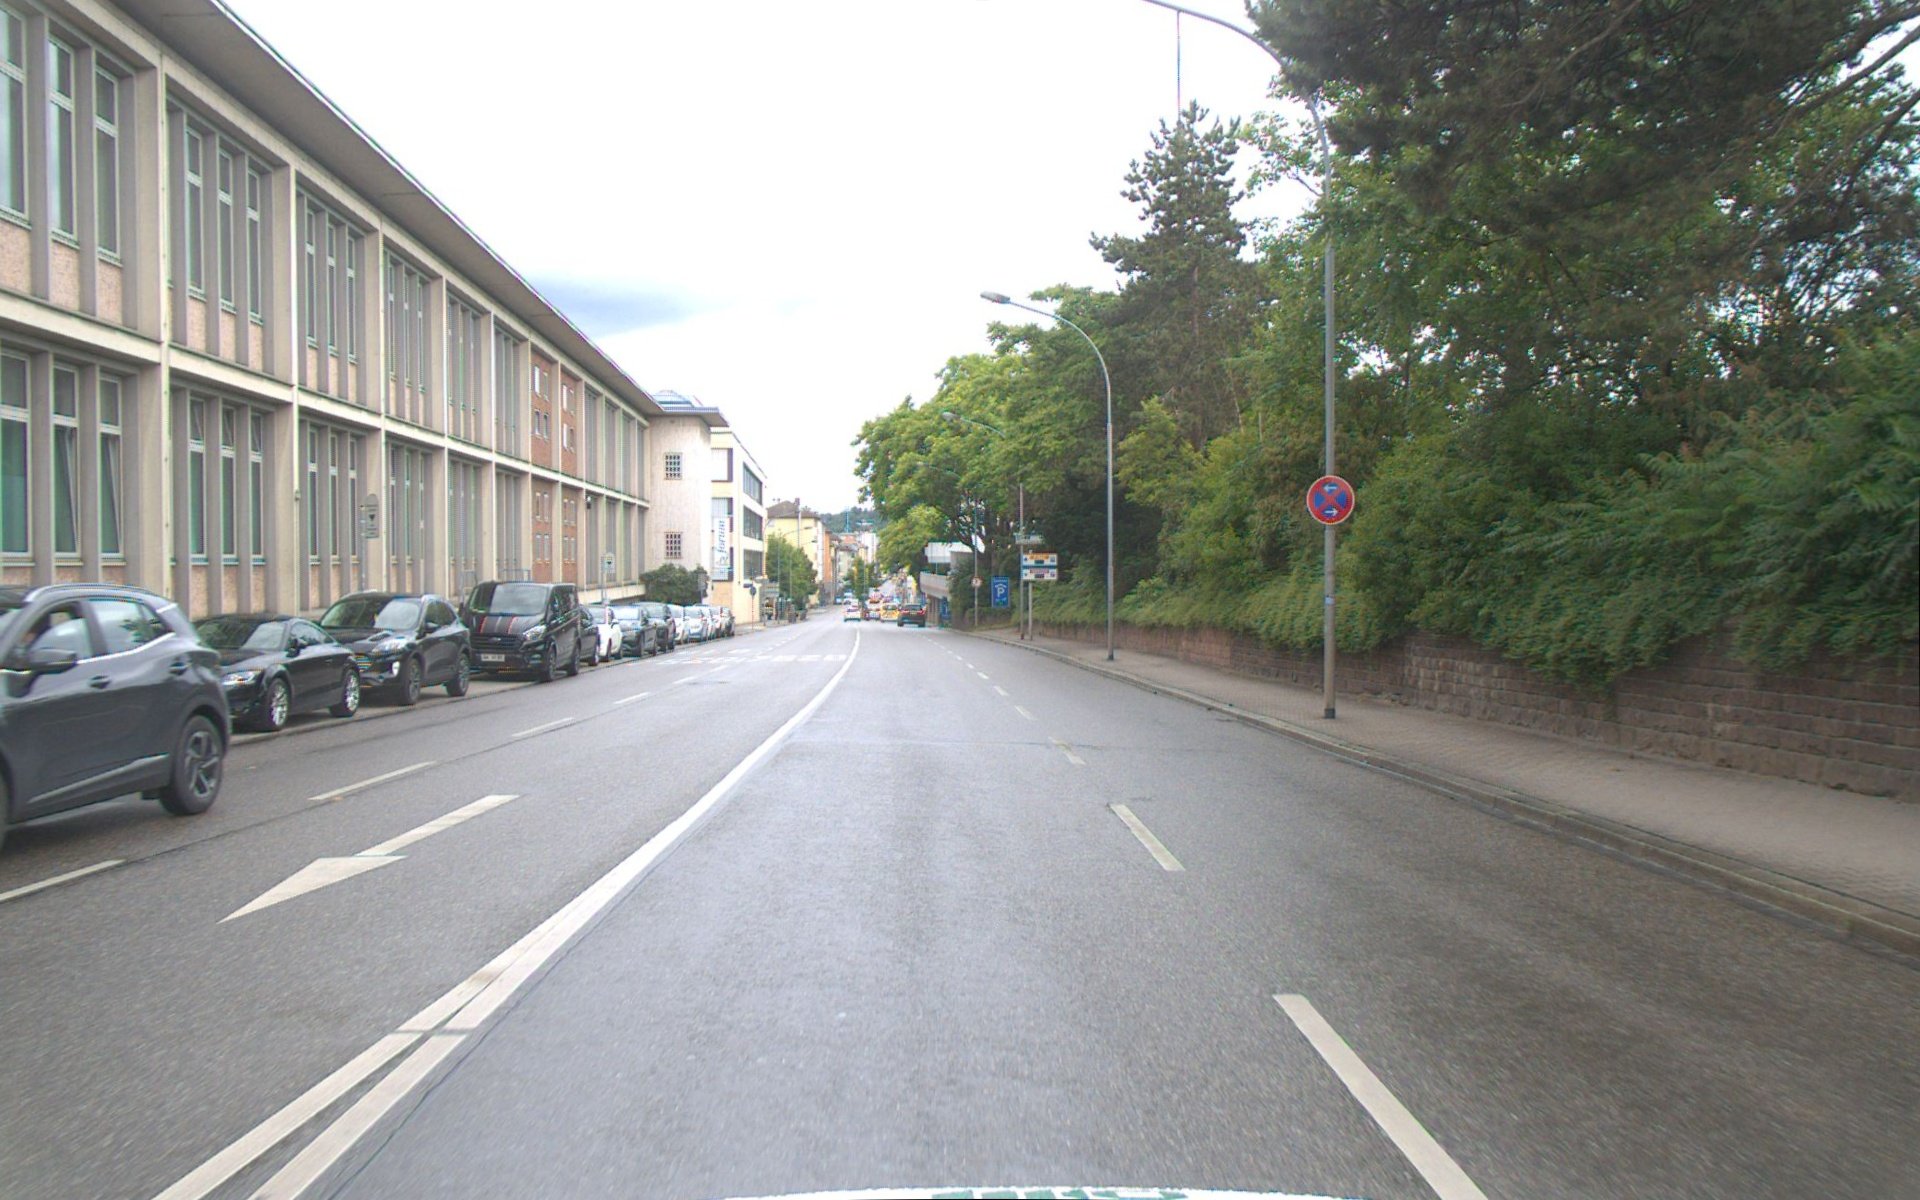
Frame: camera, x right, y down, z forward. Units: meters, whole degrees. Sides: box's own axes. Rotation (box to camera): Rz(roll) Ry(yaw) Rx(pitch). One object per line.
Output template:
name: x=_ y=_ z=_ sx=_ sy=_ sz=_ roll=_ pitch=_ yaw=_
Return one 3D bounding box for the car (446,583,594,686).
car: x=-9.127 y=0.663 z=34.766 sx=1.909 sy=1.978 sz=4.994 roll=-1 pitch=0 yaw=-2

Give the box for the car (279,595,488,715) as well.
car: x=-8.960 y=0.787 z=26.121 sx=1.760 sy=1.705 sz=4.602 roll=0 pitch=0 yaw=-1

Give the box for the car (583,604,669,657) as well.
car: x=-10.137 y=0.901 z=50.512 sx=1.779 sy=1.510 sz=4.907 roll=0 pitch=0 yaw=-2

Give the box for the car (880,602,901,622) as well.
car: x=-6.883 y=1.179 z=164.366 sx=1.954 sy=1.870 sz=3.998 roll=-2 pitch=1 yaw=-2

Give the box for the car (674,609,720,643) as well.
car: x=-12.084 y=1.195 z=76.186 sx=1.714 sy=1.479 sz=4.177 roll=2 pitch=0 yaw=-5

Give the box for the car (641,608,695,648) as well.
car: x=-11.522 y=1.096 z=65.520 sx=1.646 sy=1.549 sz=3.918 roll=0 pitch=0 yaw=-3

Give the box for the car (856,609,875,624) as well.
car: x=-10.948 y=1.951 z=191.339 sx=1.956 sy=1.709 sz=3.992 roll=0 pitch=0 yaw=-8

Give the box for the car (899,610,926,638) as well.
car: x=-3.755 y=1.865 z=130.173 sx=2.050 sy=1.944 sz=4.098 roll=-2 pitch=1 yaw=-3

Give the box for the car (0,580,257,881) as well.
car: x=-6.290 y=0.749 z=10.378 sx=1.784 sy=1.689 sz=4.338 roll=-2 pitch=1 yaw=1

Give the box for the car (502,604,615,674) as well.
car: x=-9.719 y=0.902 z=40.337 sx=1.823 sy=1.579 sz=4.311 roll=-1 pitch=0 yaw=-2

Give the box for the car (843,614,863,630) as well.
car: x=-11.725 y=2.399 z=180.989 sx=1.956 sy=1.709 sz=3.992 roll=1 pitch=0 yaw=-8

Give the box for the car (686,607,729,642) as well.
car: x=-12.397 y=1.175 z=81.489 sx=1.713 sy=1.626 sz=4.178 roll=2 pitch=0 yaw=-4

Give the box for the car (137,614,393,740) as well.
car: x=-8.681 y=0.900 z=21.040 sx=1.511 sy=1.377 sz=4.110 roll=0 pitch=0 yaw=0

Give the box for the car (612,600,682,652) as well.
car: x=-10.605 y=0.885 z=56.283 sx=1.805 sy=1.682 sz=4.511 roll=1 pitch=-1 yaw=-4

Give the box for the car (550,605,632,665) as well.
car: x=-10.009 y=0.925 z=45.048 sx=1.534 sy=1.510 sz=3.551 roll=-1 pitch=0 yaw=-2

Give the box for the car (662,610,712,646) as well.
car: x=-11.648 y=1.173 z=70.742 sx=1.714 sy=1.460 sz=4.481 roll=2 pitch=-1 yaw=-5
